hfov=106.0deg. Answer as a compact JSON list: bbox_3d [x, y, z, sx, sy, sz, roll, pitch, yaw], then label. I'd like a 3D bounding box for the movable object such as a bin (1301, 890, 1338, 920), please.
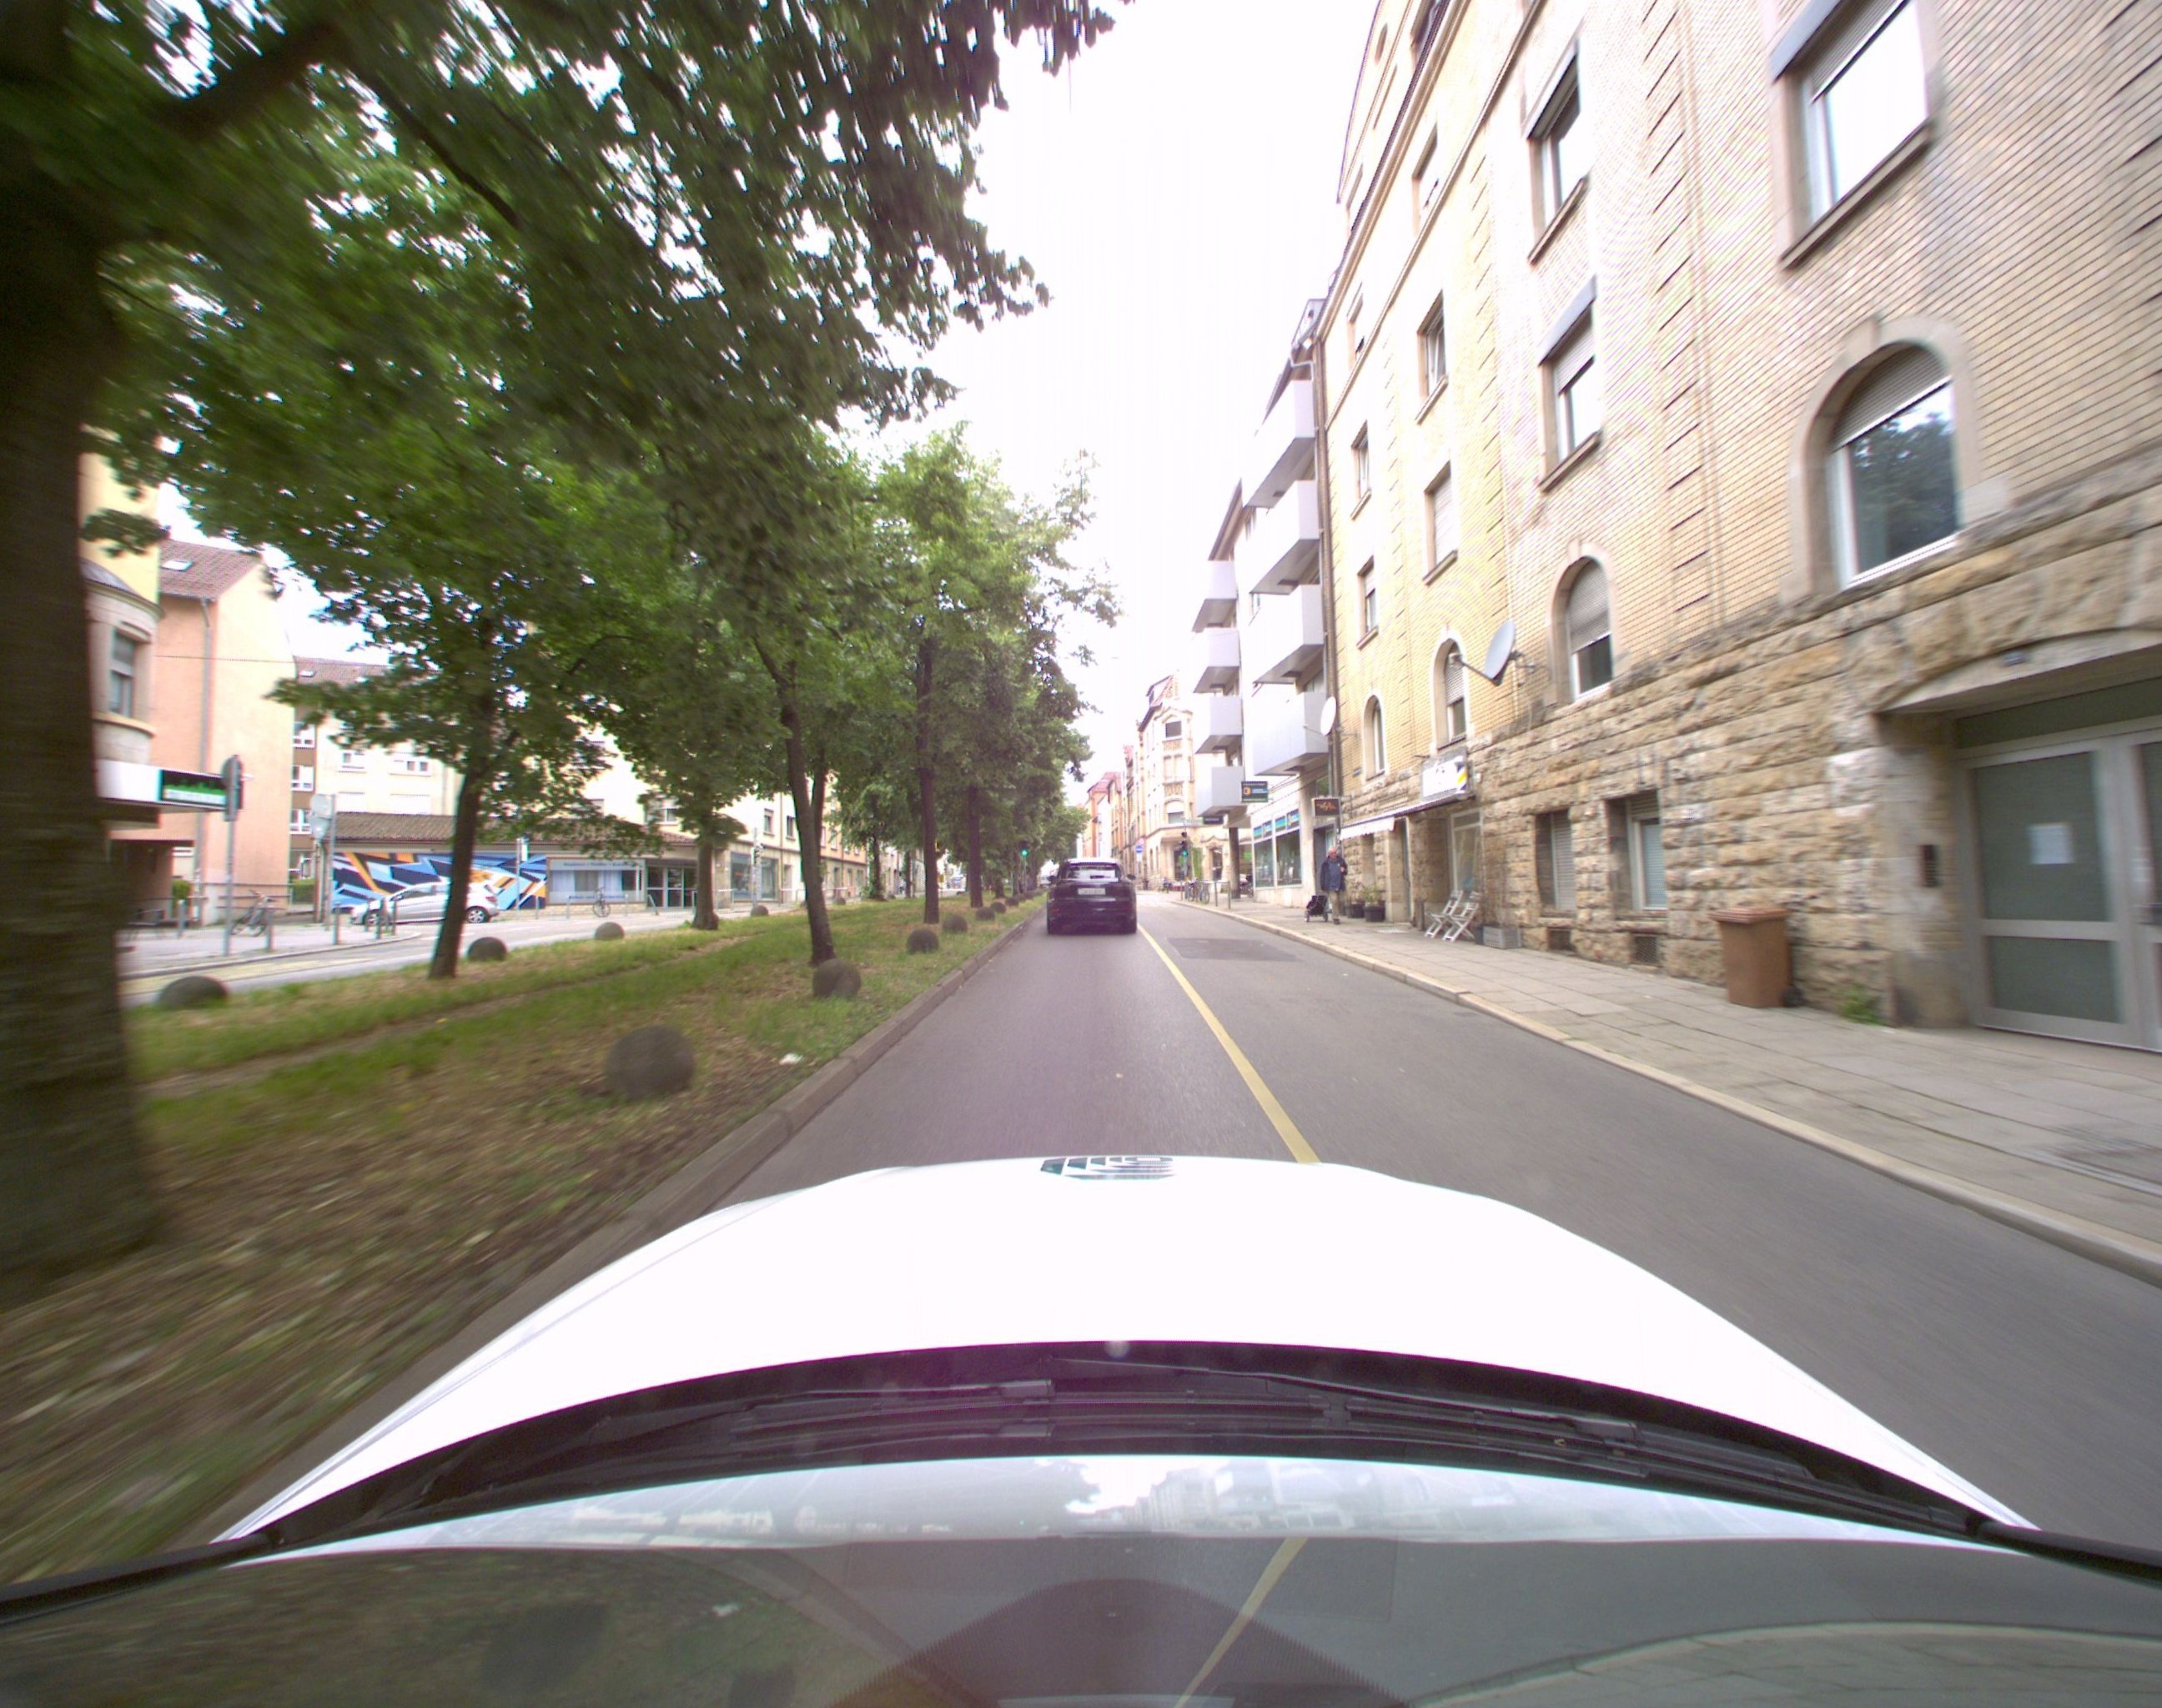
[{"bbox_3d":[5.696,1.211,19.483,0.605,0.669,0.858,-3,-2,1],"label":"movable object such as a bin"}]

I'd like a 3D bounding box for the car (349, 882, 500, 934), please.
[{"bbox_3d":[-23.916,1.937,29.860,4.057,1.479,1.803,-4,-1,-33],"label":"car"}]

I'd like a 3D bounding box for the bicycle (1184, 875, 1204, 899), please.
[{"bbox_3d":[5.132,1.508,37.053,0.286,1.054,1.753,0,-2,-12],"label":"bicycle"}]

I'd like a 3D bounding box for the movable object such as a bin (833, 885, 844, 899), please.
[{"bbox_3d":[-18.212,2.843,61.213,0.690,1.060,0.689,0,-3,-5],"label":"movable object such as a bin"}]

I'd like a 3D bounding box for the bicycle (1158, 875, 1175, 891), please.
[{"bbox_3d":[6.171,2.116,59.085,0.876,1.129,2.978,-1,-2,0],"label":"bicycle"}]

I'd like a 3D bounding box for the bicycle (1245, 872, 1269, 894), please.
[{"bbox_3d":[8.707,1.447,40.276,0.319,1.043,1.750,0,-2,-18],"label":"bicycle"}]

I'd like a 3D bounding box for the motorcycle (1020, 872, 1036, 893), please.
[{"bbox_3d":[-3.880,2.094,59.909,1.016,1.446,2.246,-3,-2,0],"label":"motorcycle"}]

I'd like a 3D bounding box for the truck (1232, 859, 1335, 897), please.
[{"bbox_3d":[12.091,1.444,48.811,5.560,2.133,2.373,1,-2,-10],"label":"truck"}]

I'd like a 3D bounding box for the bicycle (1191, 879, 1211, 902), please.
[{"bbox_3d":[5.007,1.513,34.174,0.567,0.931,1.774,-1,-2,0],"label":"bicycle"}]

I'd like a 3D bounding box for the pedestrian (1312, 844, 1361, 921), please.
[{"bbox_3d":[5.836,0.650,18.639,0.748,1.693,0.858,-3,-3,1],"label":"pedestrian"}]

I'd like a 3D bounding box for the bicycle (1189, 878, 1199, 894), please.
[{"bbox_3d":[7.970,2.249,57.354,0.348,1.059,1.833,2,-1,-2],"label":"bicycle"}]

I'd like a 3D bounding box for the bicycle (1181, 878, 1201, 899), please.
[{"bbox_3d":[4.950,1.560,36.732,0.286,0.931,1.753,0,-2,-12],"label":"bicycle"}]

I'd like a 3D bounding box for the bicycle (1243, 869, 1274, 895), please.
[{"bbox_3d":[8.446,1.338,38.878,0.320,1.199,1.743,1,-3,-32],"label":"bicycle"}]

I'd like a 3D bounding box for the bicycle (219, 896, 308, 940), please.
[{"bbox_3d":[-20.927,1.611,20.840,2.429,1.046,0.873,-1,-2,27],"label":"bicycle"}]

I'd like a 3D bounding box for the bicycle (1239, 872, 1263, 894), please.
[{"bbox_3d":[8.395,1.435,40.175,0.319,1.043,1.750,0,-2,-18],"label":"bicycle"}]

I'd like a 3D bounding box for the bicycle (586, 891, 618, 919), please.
[{"bbox_3d":[-19.292,2.053,32.837,0.765,1.085,2.022,1,-3,-21],"label":"bicycle"}]

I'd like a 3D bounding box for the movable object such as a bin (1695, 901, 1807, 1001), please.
[{"bbox_3d":[6.324,0.908,7.709,0.592,0.904,0.503,-1,-5,2],"label":"movable object such as a bin"}]

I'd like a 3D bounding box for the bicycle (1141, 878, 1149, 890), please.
[{"bbox_3d":[5.507,2.586,70.255,0.445,1.037,2.246,-2,-3,-2],"label":"bicycle"}]

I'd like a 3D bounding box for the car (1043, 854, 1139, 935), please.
[{"bbox_3d":[0.234,0.868,19.054,1.987,1.665,4.000,-1,-1,1],"label":"car"}]

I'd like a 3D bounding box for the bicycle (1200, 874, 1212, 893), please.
[{"bbox_3d":[8.751,2.066,57.028,0.445,1.161,1.833,-2,3,-2],"label":"bicycle"}]
